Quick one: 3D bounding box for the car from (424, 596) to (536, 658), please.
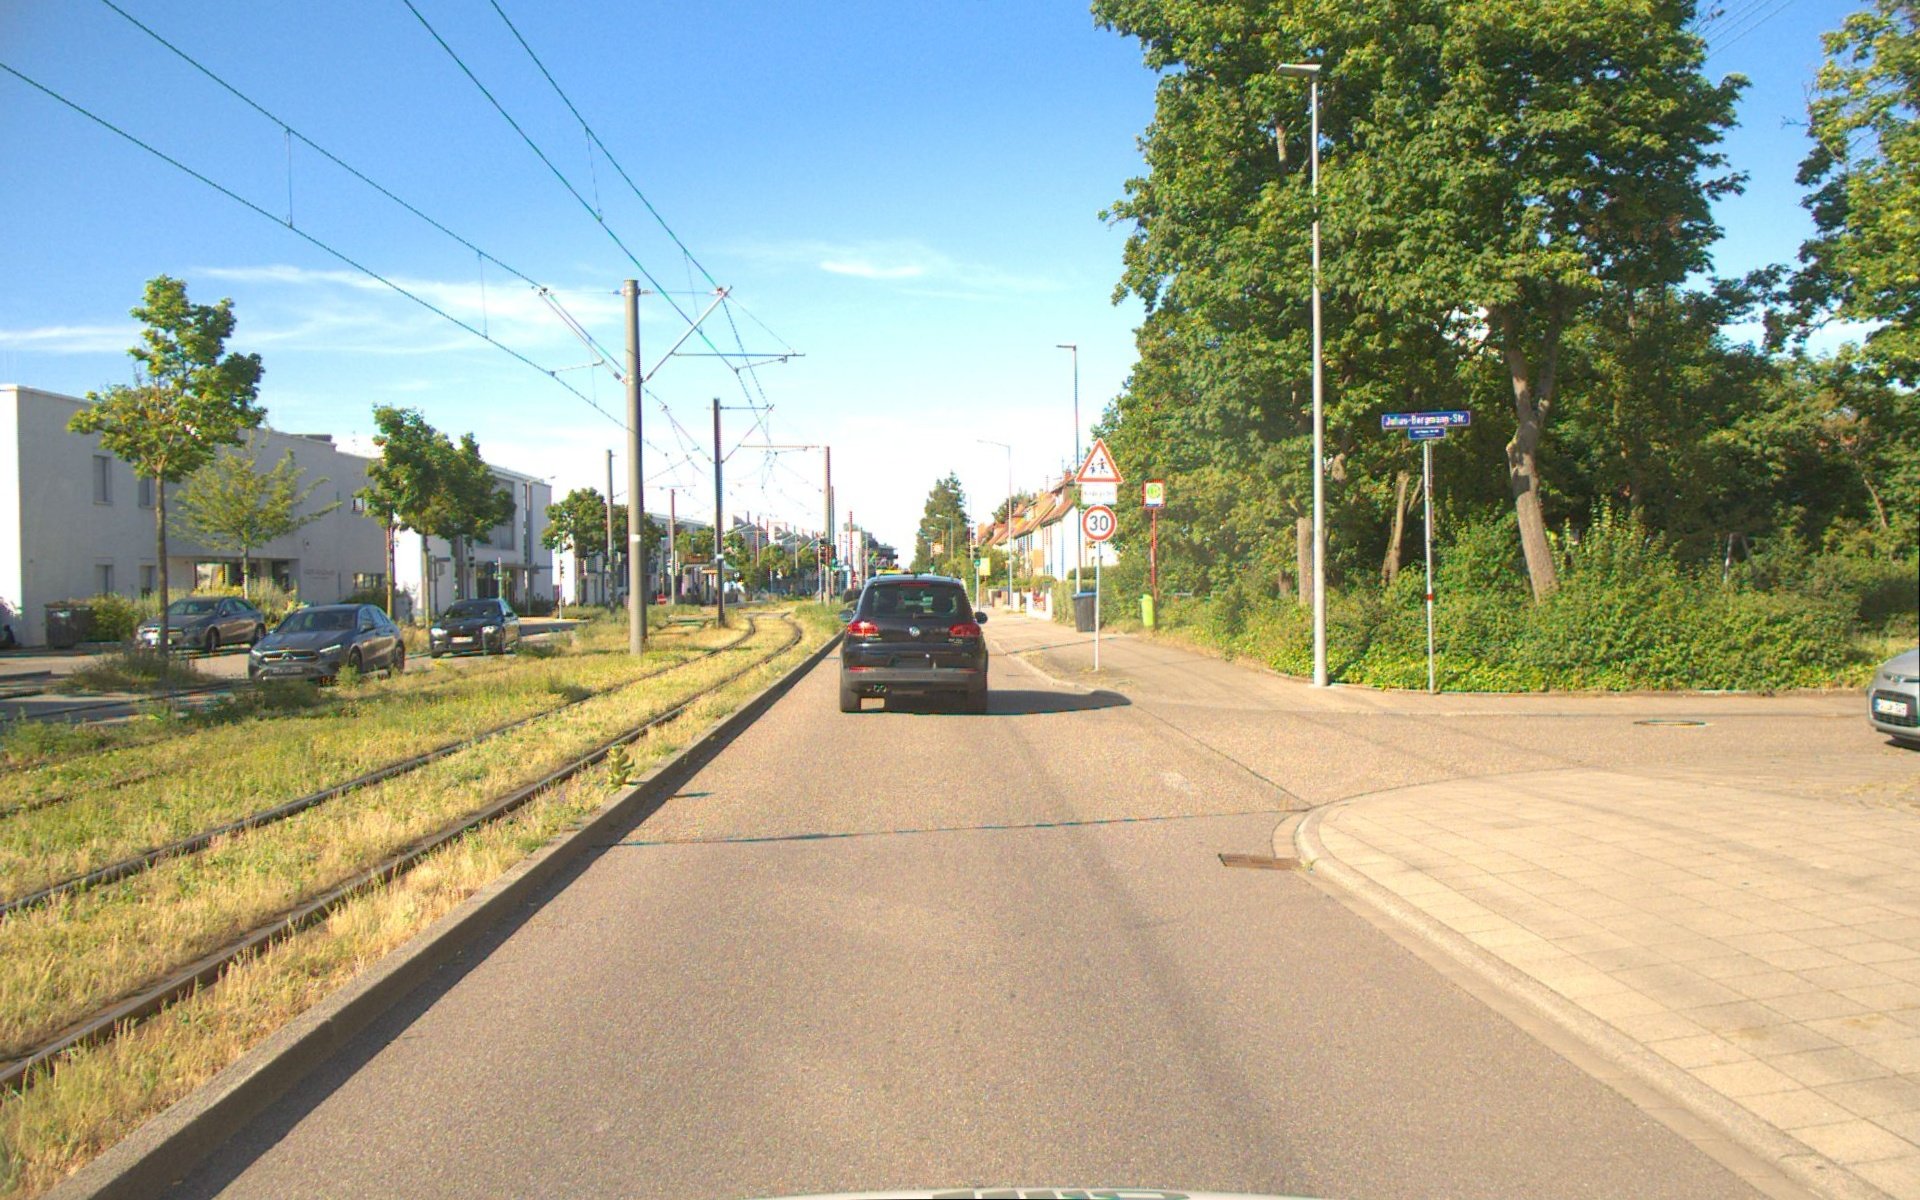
[{"bbox_3d":[-12.643,0.666,43.873,1.727,1.469,4.914,-3,0,-3],"label":"car"}]

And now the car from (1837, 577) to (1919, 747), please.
[{"bbox_3d":[10.543,0.532,15.717,3.521,1.557,1.647,-1,0,-1],"label":"car"}]

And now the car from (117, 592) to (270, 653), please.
[{"bbox_3d":[-19.592,0.547,42.507,1.773,1.486,4.319,0,0,2],"label":"car"}]

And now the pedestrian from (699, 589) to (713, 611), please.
[{"bbox_3d":[-18.772,0.022,122.350,0.868,1.614,0.624,-1,0,-20],"label":"pedestrian"}]

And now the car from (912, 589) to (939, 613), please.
[{"bbox_3d":[-2.554,0.034,121.039,1.741,1.699,3.997,-1,0,-4],"label":"car"}]

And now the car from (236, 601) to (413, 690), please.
[{"bbox_3d":[-11.615,0.776,30.551,1.654,1.413,4.386,-3,0,-2],"label":"car"}]

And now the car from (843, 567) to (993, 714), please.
[{"bbox_3d":[-0.623,0.465,21.255,1.740,1.699,3.997,0,0,-4],"label":"car"}]

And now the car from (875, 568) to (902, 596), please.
[{"bbox_3d":[-6.821,-1.721,158.140,2.346,2.609,5.528,-1,0,-1],"label":"car"}]

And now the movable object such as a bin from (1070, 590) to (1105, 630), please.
[{"bbox_3d":[3.713,0.290,48.253,0.955,1.130,1.170,-1,1,1],"label":"movable object such as a bin"}]

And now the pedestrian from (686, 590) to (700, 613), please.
[{"bbox_3d":[-18.669,0.105,115.636,0.868,1.614,0.624,-1,0,-20],"label":"pedestrian"}]
